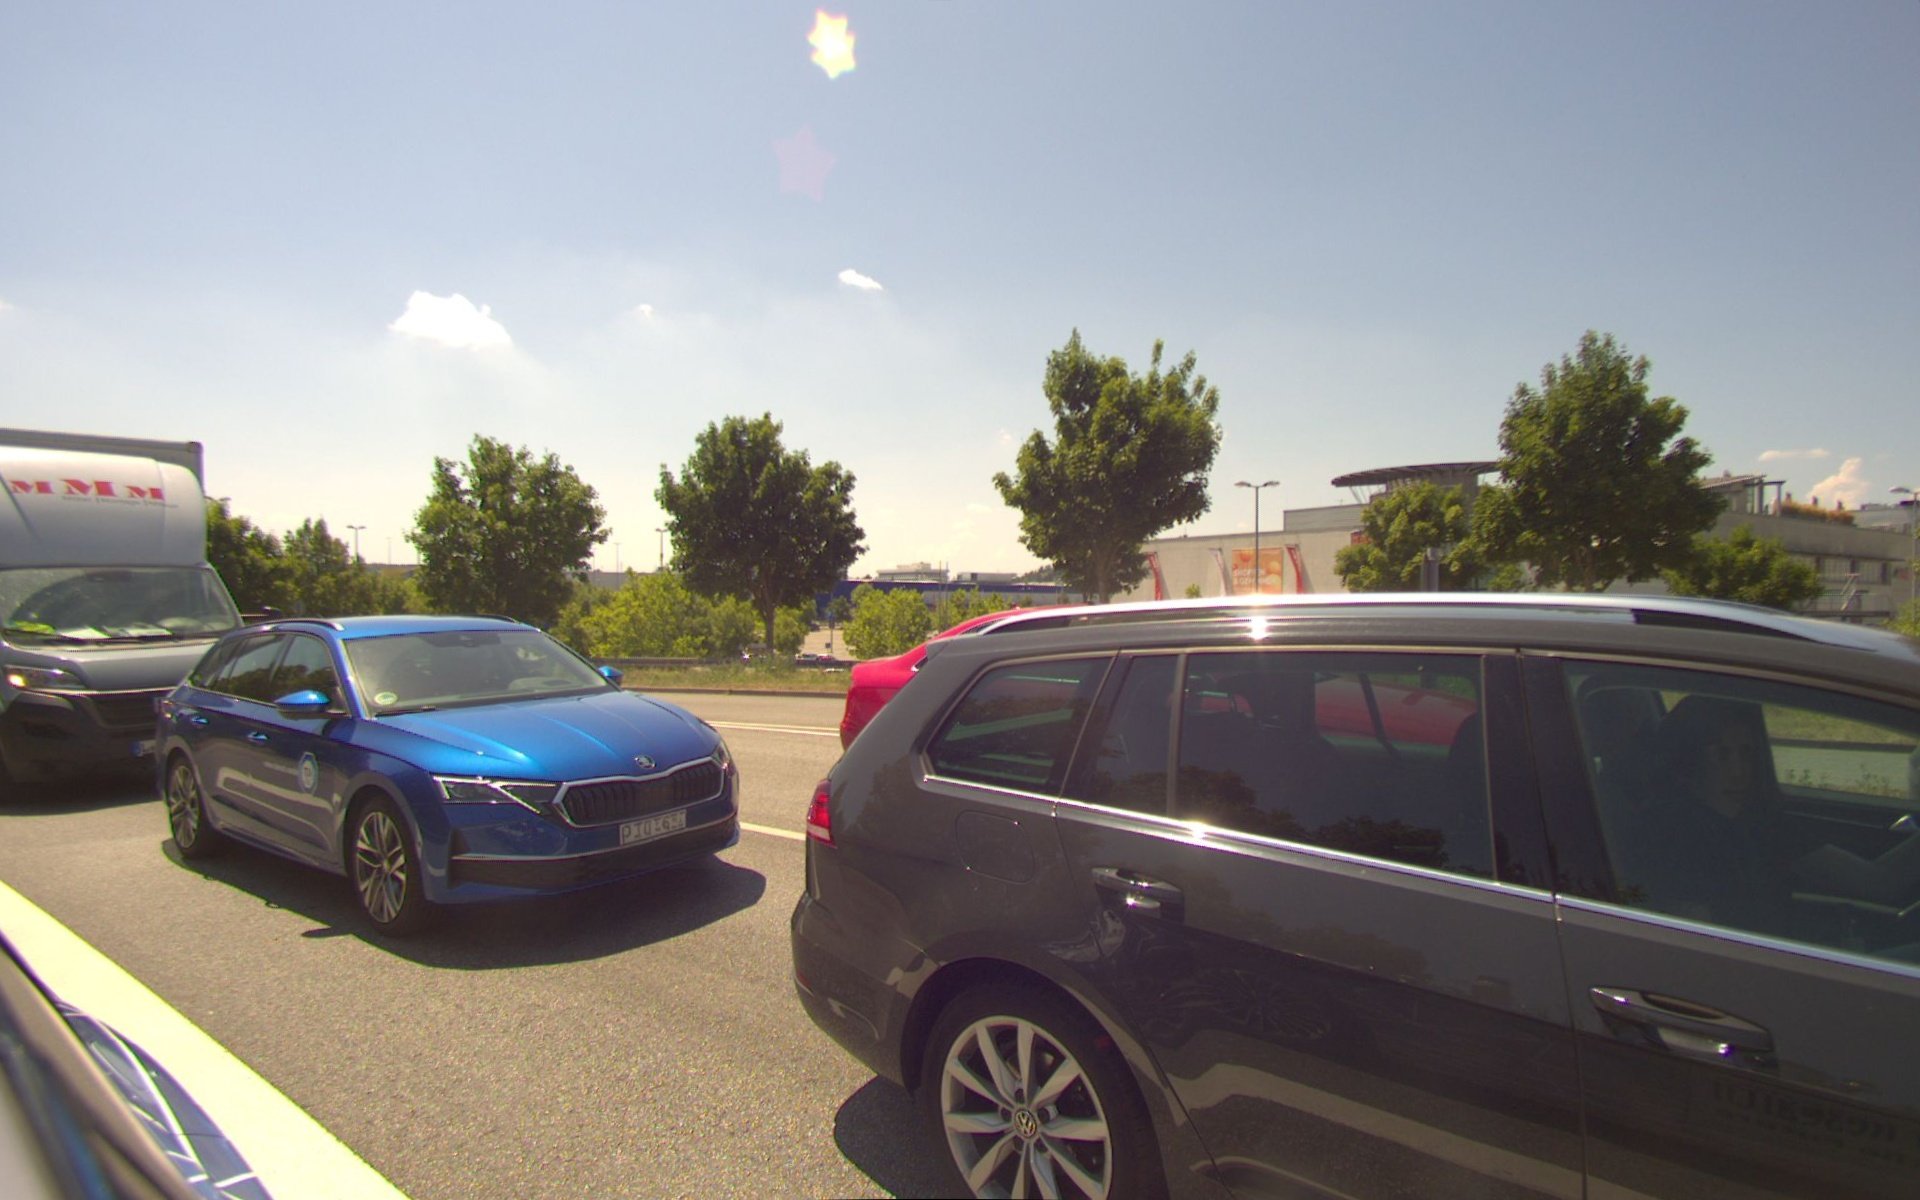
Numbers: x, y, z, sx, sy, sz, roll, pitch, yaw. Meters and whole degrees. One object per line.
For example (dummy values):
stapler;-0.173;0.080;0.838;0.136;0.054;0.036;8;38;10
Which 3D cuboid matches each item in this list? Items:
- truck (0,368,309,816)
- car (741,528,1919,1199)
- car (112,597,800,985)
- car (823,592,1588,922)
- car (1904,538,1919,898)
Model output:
truck;-9.638;0.051;10.442;7.186;3.373;2.387;-2;-1;35
car;1.649;0.658;2.000;4.426;1.493;1.760;-1;-1;40
car;-3.149;0.786;5.892;4.480;1.473;1.693;-2;-1;36
car;1.259;0.678;6.407;4.446;1.399;1.644;0;1;40
car;5.828;0.526;2.848;4.502;1.613;1.856;0;0;40
